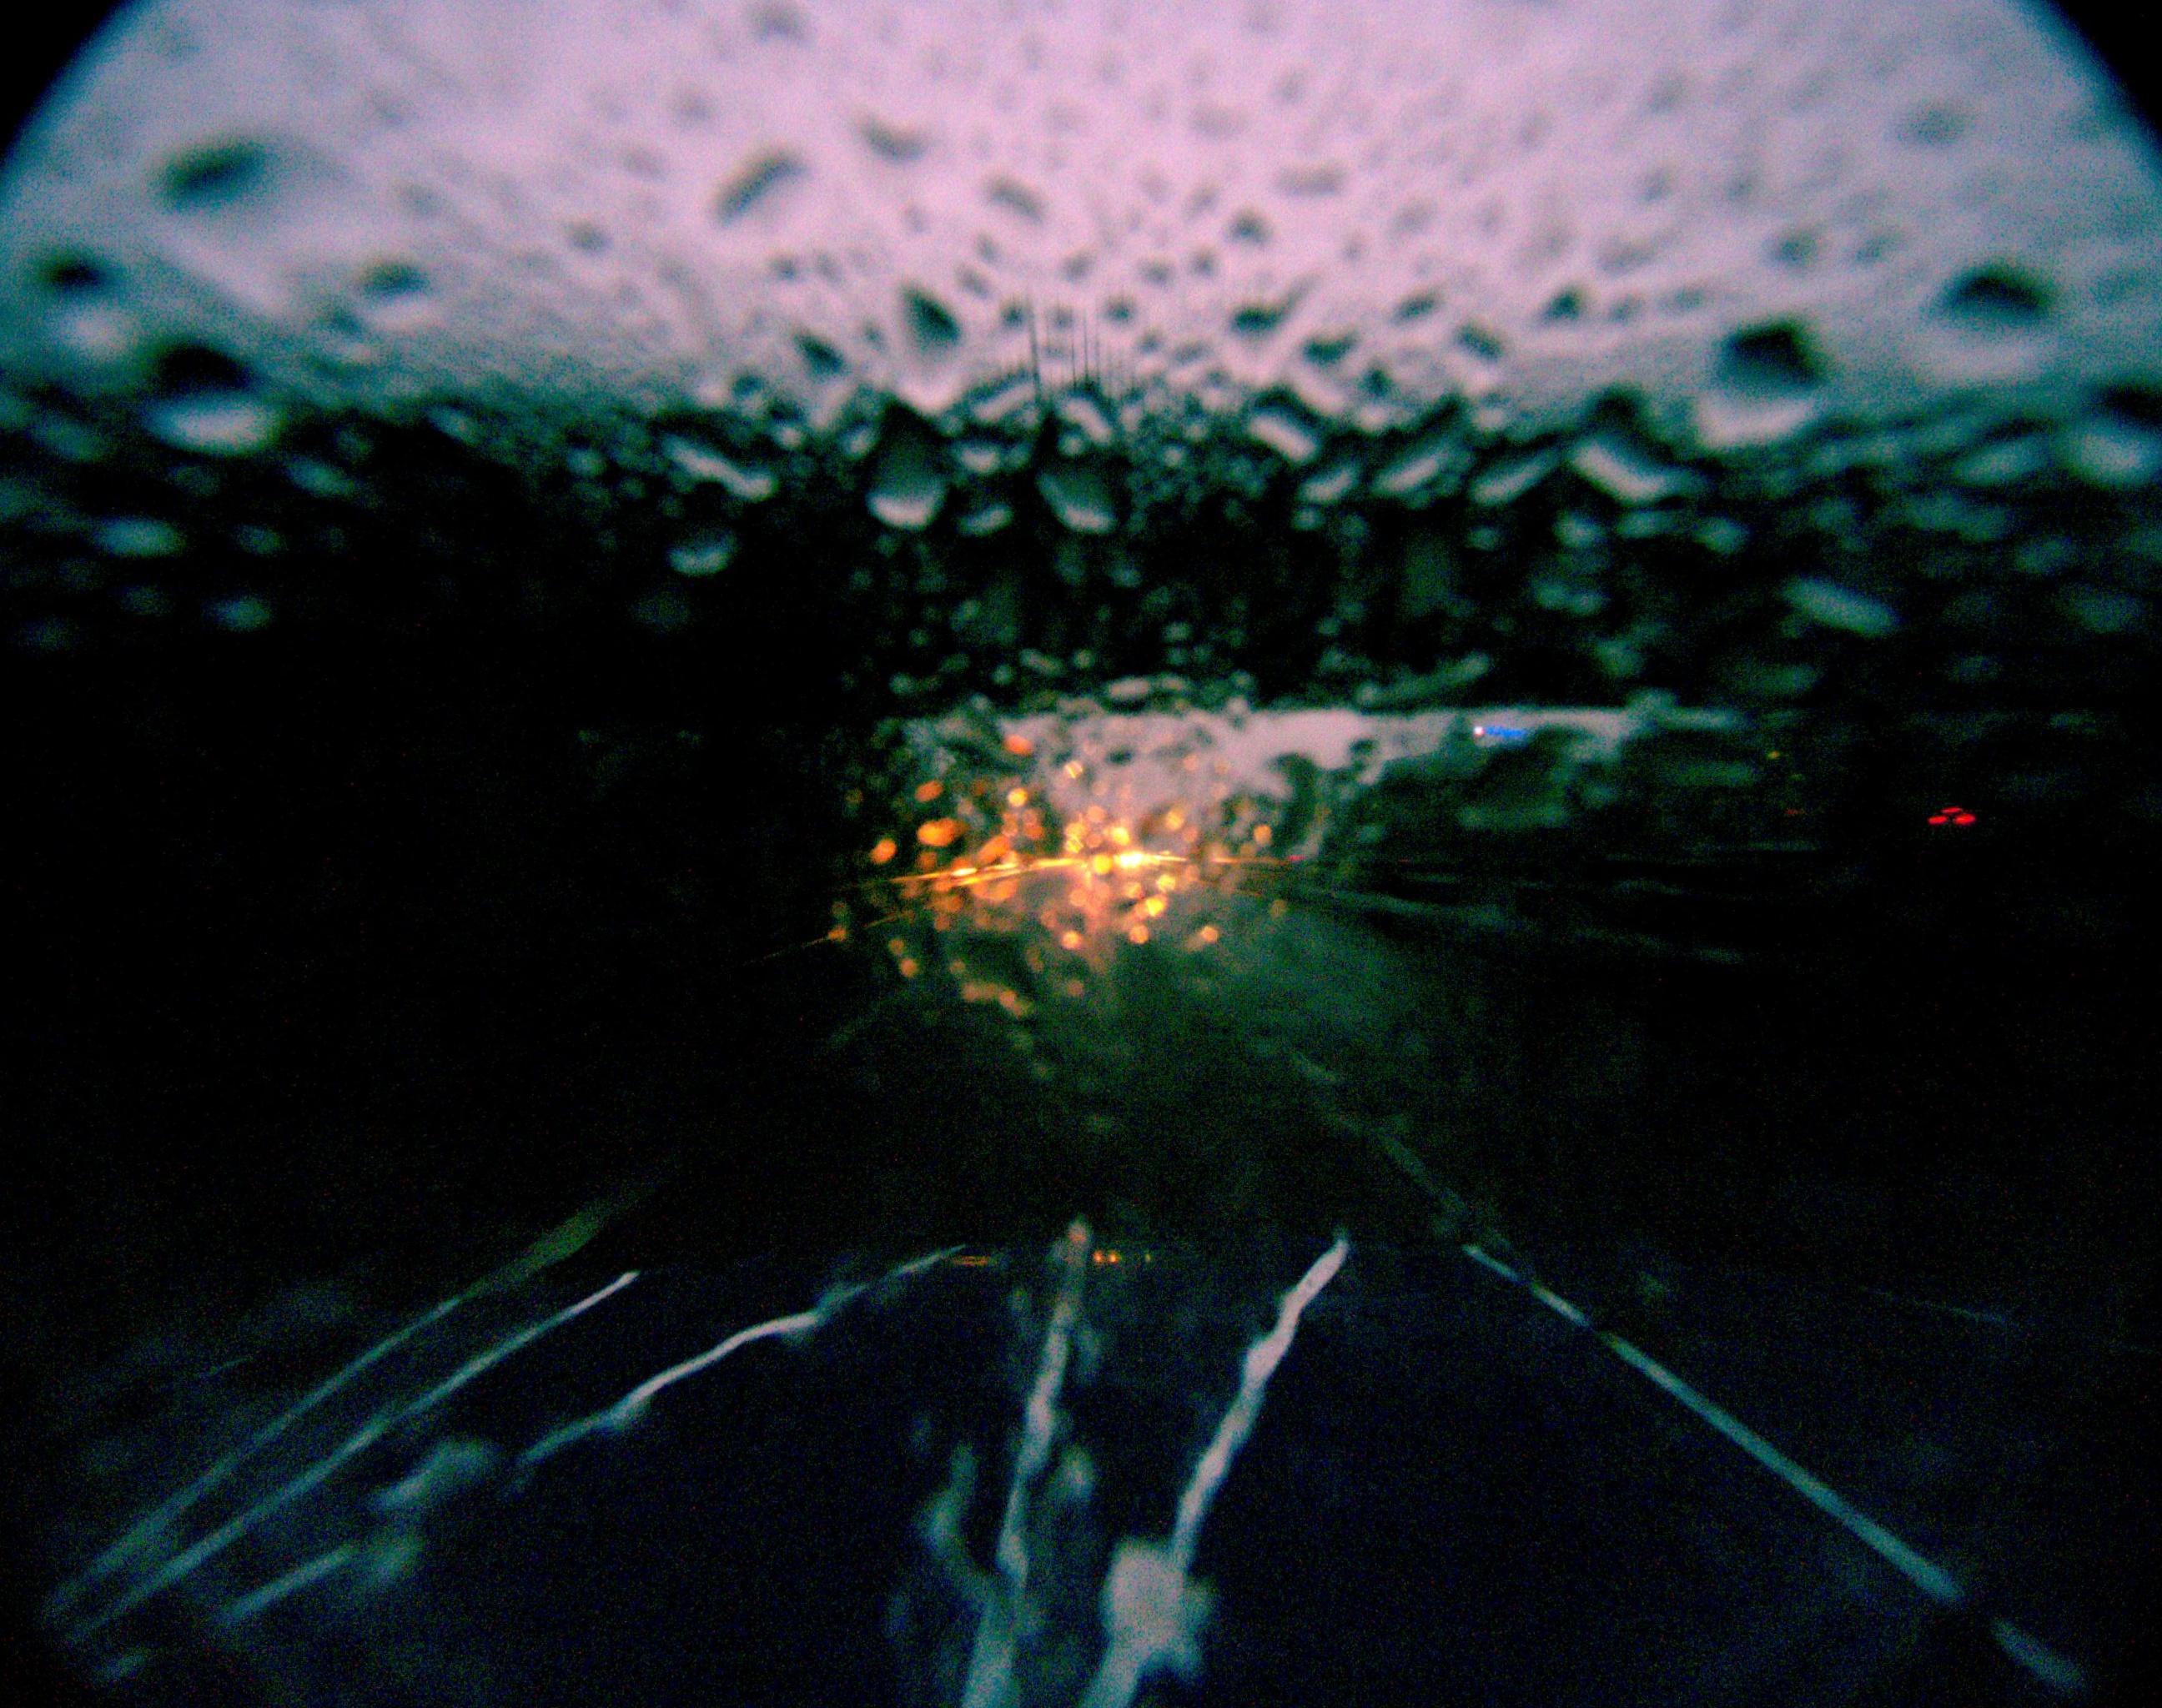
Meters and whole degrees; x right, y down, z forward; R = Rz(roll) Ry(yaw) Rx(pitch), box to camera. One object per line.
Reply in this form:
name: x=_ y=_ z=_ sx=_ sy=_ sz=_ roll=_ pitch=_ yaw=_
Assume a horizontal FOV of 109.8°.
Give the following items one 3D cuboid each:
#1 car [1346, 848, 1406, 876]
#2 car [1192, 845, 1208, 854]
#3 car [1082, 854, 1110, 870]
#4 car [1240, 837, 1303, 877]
car: x=13.727 y=0.375 z=35.517 sx=1.438 sy=1.215 sz=3.367 roll=-2 pitch=0 yaw=0
car: x=23.145 y=-0.857 z=148.414 sx=1.852 sy=1.675 sz=3.997 roll=-5 pitch=0 yaw=-8
car: x=1.481 y=0.752 z=73.418 sx=1.951 sy=1.511 sz=4.791 roll=-2 pitch=0 yaw=10
car: x=10.170 y=0.150 z=41.055 sx=1.998 sy=1.862 sz=5.270 roll=-5 pitch=0 yaw=0
